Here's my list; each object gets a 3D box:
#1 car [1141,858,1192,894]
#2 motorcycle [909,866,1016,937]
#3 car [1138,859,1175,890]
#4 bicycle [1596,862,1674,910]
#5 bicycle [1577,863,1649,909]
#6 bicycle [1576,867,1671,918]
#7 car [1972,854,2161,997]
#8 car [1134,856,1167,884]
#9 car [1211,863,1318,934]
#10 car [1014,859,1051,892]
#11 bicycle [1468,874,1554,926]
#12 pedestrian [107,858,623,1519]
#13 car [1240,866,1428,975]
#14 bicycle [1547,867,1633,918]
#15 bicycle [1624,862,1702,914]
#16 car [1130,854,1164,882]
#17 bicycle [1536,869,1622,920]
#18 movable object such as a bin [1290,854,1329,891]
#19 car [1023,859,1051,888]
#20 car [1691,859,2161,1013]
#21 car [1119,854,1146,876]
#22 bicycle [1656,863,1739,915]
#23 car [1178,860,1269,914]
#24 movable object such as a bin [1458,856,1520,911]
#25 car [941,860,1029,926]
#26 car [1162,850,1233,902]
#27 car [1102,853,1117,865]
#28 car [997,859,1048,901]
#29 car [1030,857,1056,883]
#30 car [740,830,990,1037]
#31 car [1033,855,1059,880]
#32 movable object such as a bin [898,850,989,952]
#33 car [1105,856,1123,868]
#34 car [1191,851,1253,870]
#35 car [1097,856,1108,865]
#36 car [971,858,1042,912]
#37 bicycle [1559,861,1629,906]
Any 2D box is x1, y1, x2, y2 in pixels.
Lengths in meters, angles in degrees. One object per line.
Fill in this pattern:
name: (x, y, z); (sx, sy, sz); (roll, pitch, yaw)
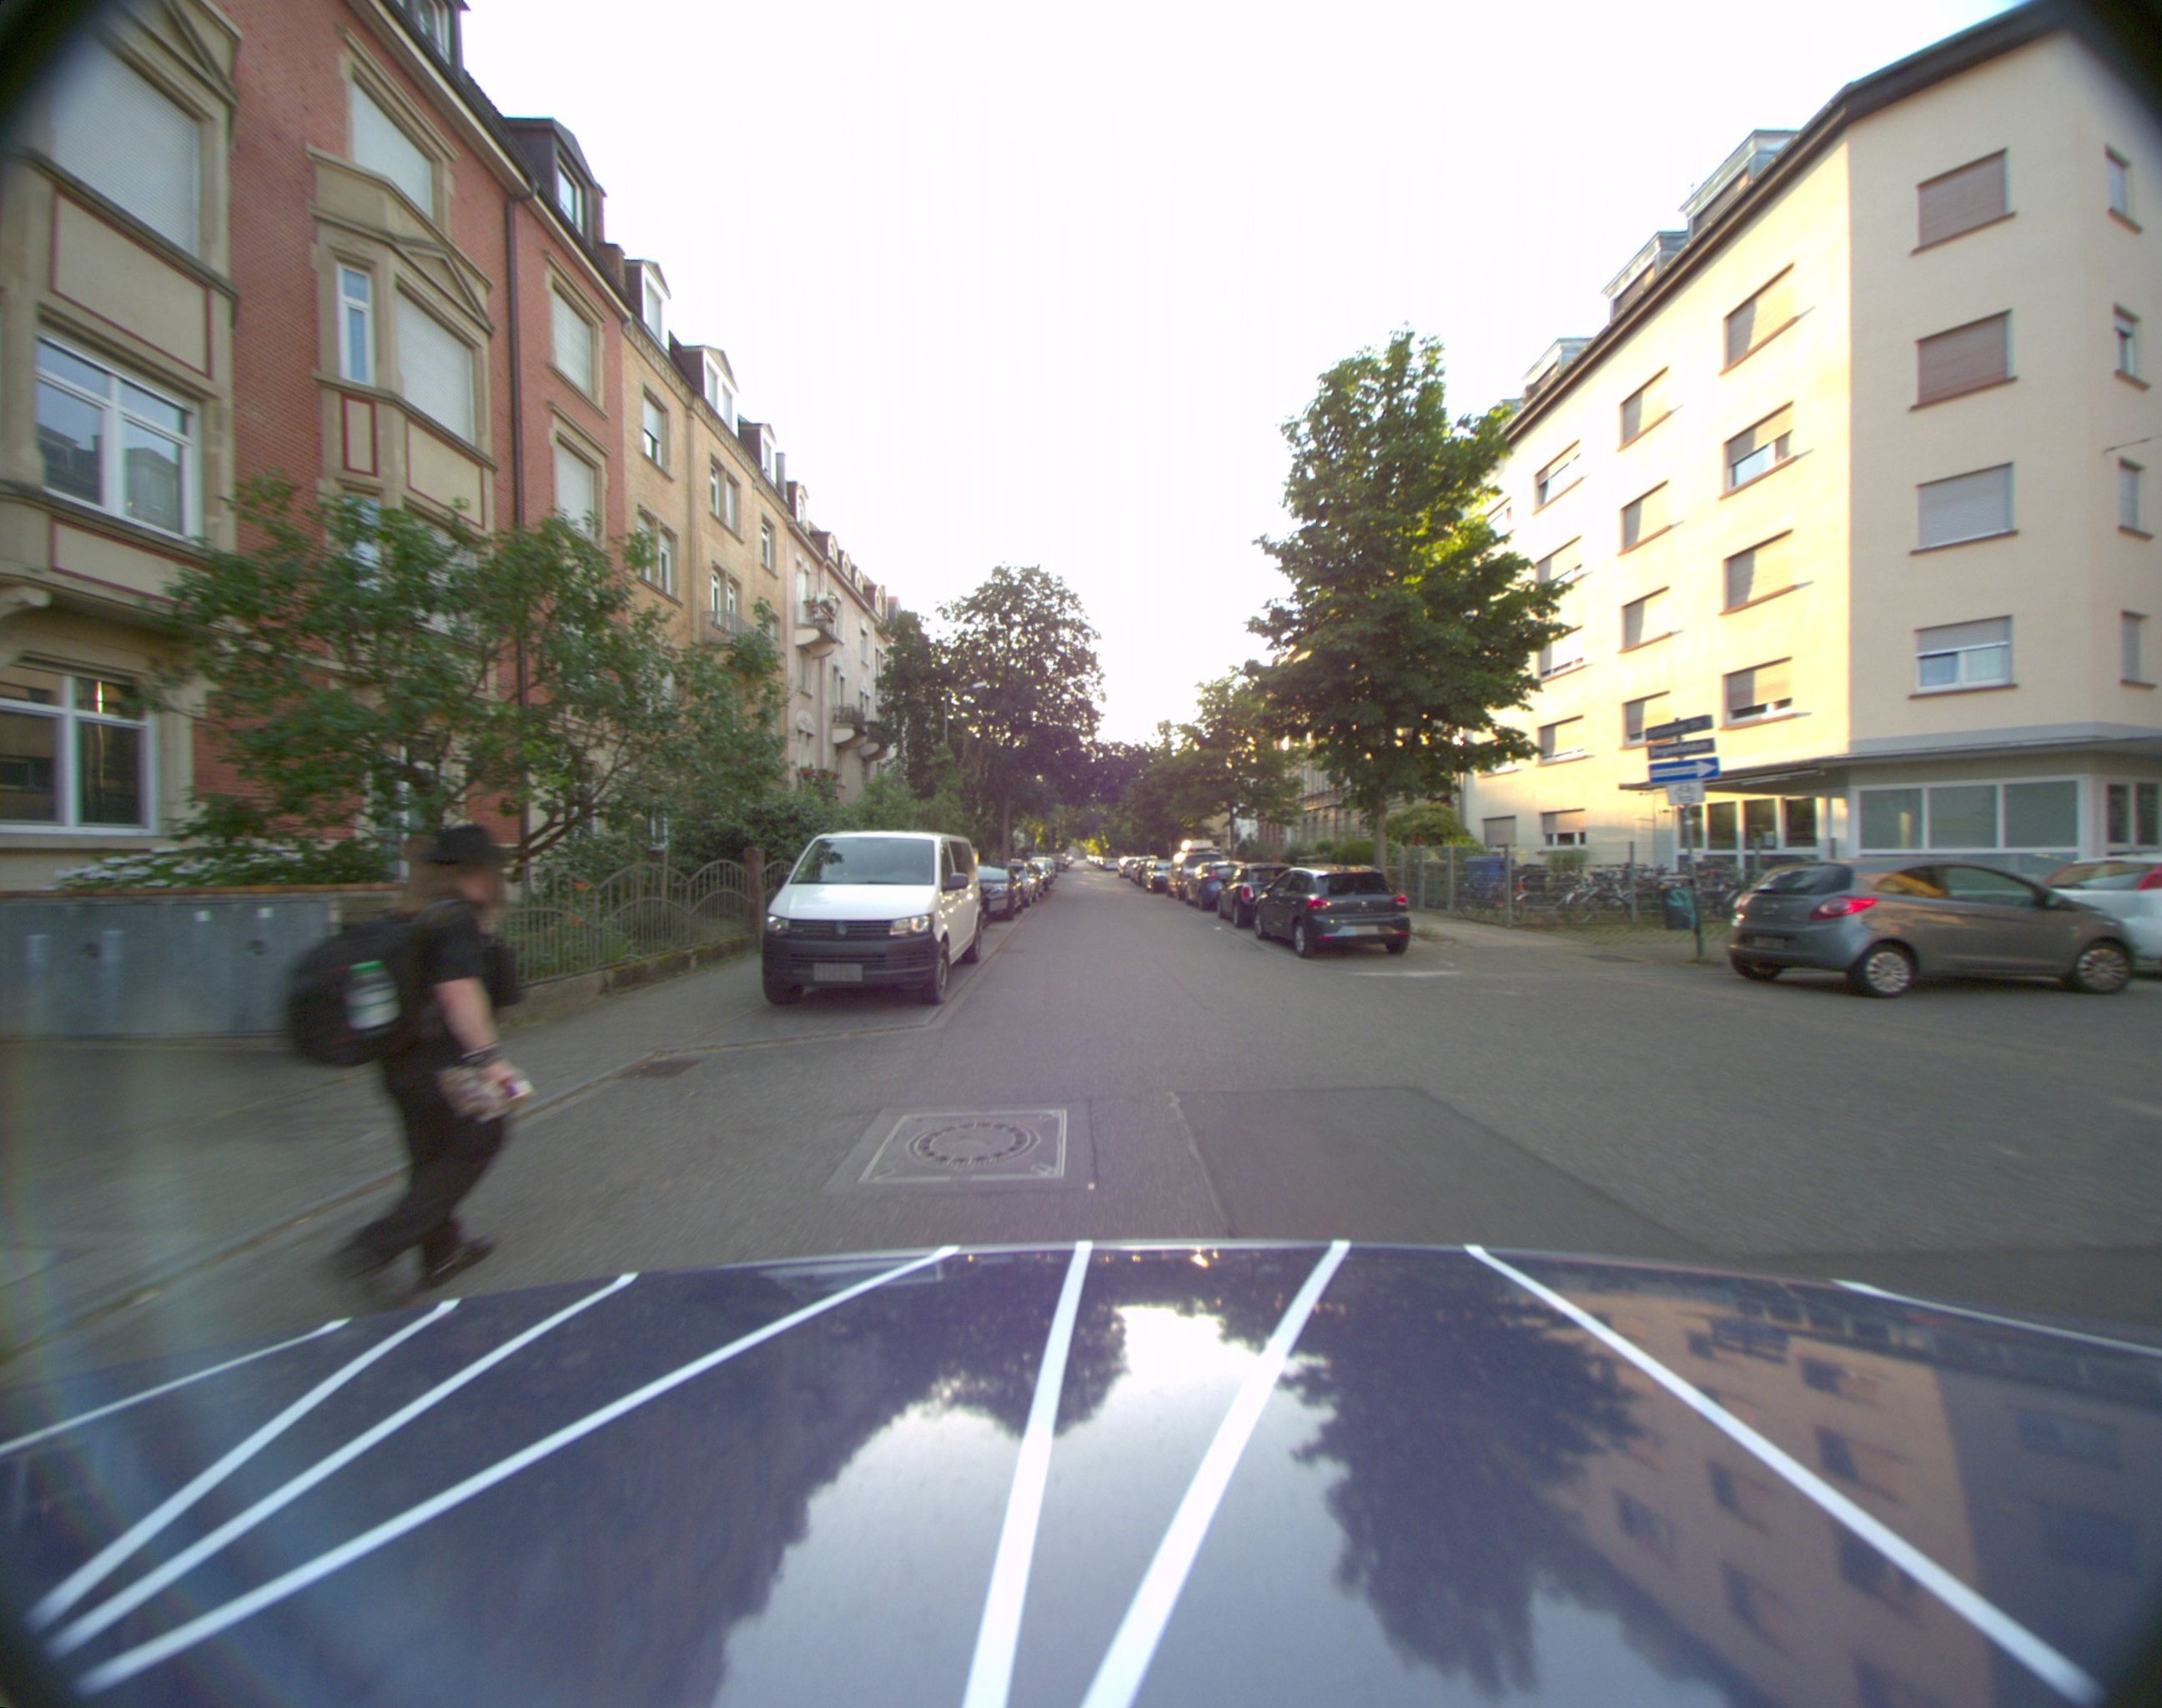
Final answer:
car: (3.859, 0.958, 34.936); (1.733, 1.433, 4.023); (-2, 0, -2)
motorcycle: (-2.682, 1.033, 17.205); (2.099, 1.474, 1.130); (0, 1, -33)
car: (3.891, 1.027, 39.653); (1.441, 1.485, 3.297); (-2, 1, -2)
bicycle: (13.796, 0.791, 18.923); (1.635, 1.086, 0.500); (-2, 1, -6)
bicycle: (13.675, 0.816, 19.546); (1.548, 1.086, 0.500); (-2, 1, -6)
bicycle: (12.401, 0.859, 17.408); (0.386, 1.086, 1.707); (-3, 1, -37)
car: (14.078, 0.768, 9.086); (4.066, 1.500, 1.975); (-2, 1, 12)
car: (3.991, 0.898, 44.110); (1.682, 1.490, 3.625); (-2, 1, 2)
car: (4.327, 0.982, 18.531); (1.746, 1.412, 4.143); (-2, 0, 2)
car: (-2.431, 1.043, 38.889); (1.737, 1.498, 4.163); (-2, 0, -2)
bicycle: (9.643, 1.001, 17.132); (0.689, 1.020, 1.931); (-2, 1, -6)
pedestrian: (-2.369, 0.896, 2.606); (0.889, 1.712, 0.960); (-2, 1, 26)
car: (4.183, 1.012, 13.385); (1.679, 1.453, 4.462); (-2, 0, -2)
bicycle: (11.735, 0.869, 17.539); (0.502, 1.086, 1.545); (-3, 1, -38)
bicycle: (13.855, 0.794, 18.097); (1.548, 1.134, 0.500); (-2, 1, -6)
car: (4.224, 0.853, 49.151); (1.866, 1.653, 4.021); (-2, 1, 1)
bicycle: (11.291, 0.892, 17.266); (0.502, 1.086, 1.545); (-3, 1, -37)
movable object such as a bin: (9.063, 0.716, 30.221); (0.948, 1.379, 1.551); (-2, 1, -3)
car: (-2.540, 1.094, 44.104); (1.479, 1.498, 3.928); (-2, 0, -2)
car: (9.555, 0.857, 8.778); (3.515, 1.499, 1.845); (-1, 0, -1)
car: (4.098, 0.856, 60.709); (1.677, 1.627, 3.939); (-2, 1, -3)
bicycle: (14.023, 0.792, 17.302); (1.548, 1.086, 0.500); (-2, 1, -6)
car: (4.319, 0.950, 23.686); (1.866, 1.404, 4.589); (-2, 0, -1)
movable object such as a bin: (10.774, 0.755, 20.102); (0.868, 1.344, 1.398); (-2, 1, 2)
car: (-2.561, 1.001, 21.274); (1.724, 1.542, 4.325); (-2, 0, 2)
car: (4.293, 0.746, 28.690); (1.866, 1.769, 4.622); (-2, 0, -1)
car: (3.715, 0.618, 100.021); (1.840, 1.484, 3.641); (-2, 1, -1)
car: (-2.326, 1.005, 31.027); (1.590, 1.516, 3.602); (-2, 0, 2)
car: (-2.393, 0.992, 48.506); (1.502, 1.538, 3.338); (-2, 1, -2)
car: (-2.463, 0.768, 10.256); (1.866, 2.027, 5.543); (1, 0, -1)
car: (-2.462, 0.926, 54.126); (1.737, 1.692, 4.167); (-2, 1, -2)
movable object such as a bin: (-2.693, 0.868, 15.250); (1.415, 1.867, 2.324); (1, 1, -1)
car: (4.073, 0.982, 94.388); (1.953, 1.484, 3.737); (-2, 1, -1)
car: (10.807, 0.470, 58.321); (4.413, 1.333, 1.625); (-2, 1, 1)
car: (4.039, 1.211, 143.007); (1.840, 1.484, 3.641); (-2, 1, -1)
car: (-2.488, 1.005, 26.528); (1.761, 1.573, 4.842); (-2, 0, 2)
bicycle: (13.582, 0.775, 20.119); (1.548, 1.086, 0.500); (-2, 1, -6)
